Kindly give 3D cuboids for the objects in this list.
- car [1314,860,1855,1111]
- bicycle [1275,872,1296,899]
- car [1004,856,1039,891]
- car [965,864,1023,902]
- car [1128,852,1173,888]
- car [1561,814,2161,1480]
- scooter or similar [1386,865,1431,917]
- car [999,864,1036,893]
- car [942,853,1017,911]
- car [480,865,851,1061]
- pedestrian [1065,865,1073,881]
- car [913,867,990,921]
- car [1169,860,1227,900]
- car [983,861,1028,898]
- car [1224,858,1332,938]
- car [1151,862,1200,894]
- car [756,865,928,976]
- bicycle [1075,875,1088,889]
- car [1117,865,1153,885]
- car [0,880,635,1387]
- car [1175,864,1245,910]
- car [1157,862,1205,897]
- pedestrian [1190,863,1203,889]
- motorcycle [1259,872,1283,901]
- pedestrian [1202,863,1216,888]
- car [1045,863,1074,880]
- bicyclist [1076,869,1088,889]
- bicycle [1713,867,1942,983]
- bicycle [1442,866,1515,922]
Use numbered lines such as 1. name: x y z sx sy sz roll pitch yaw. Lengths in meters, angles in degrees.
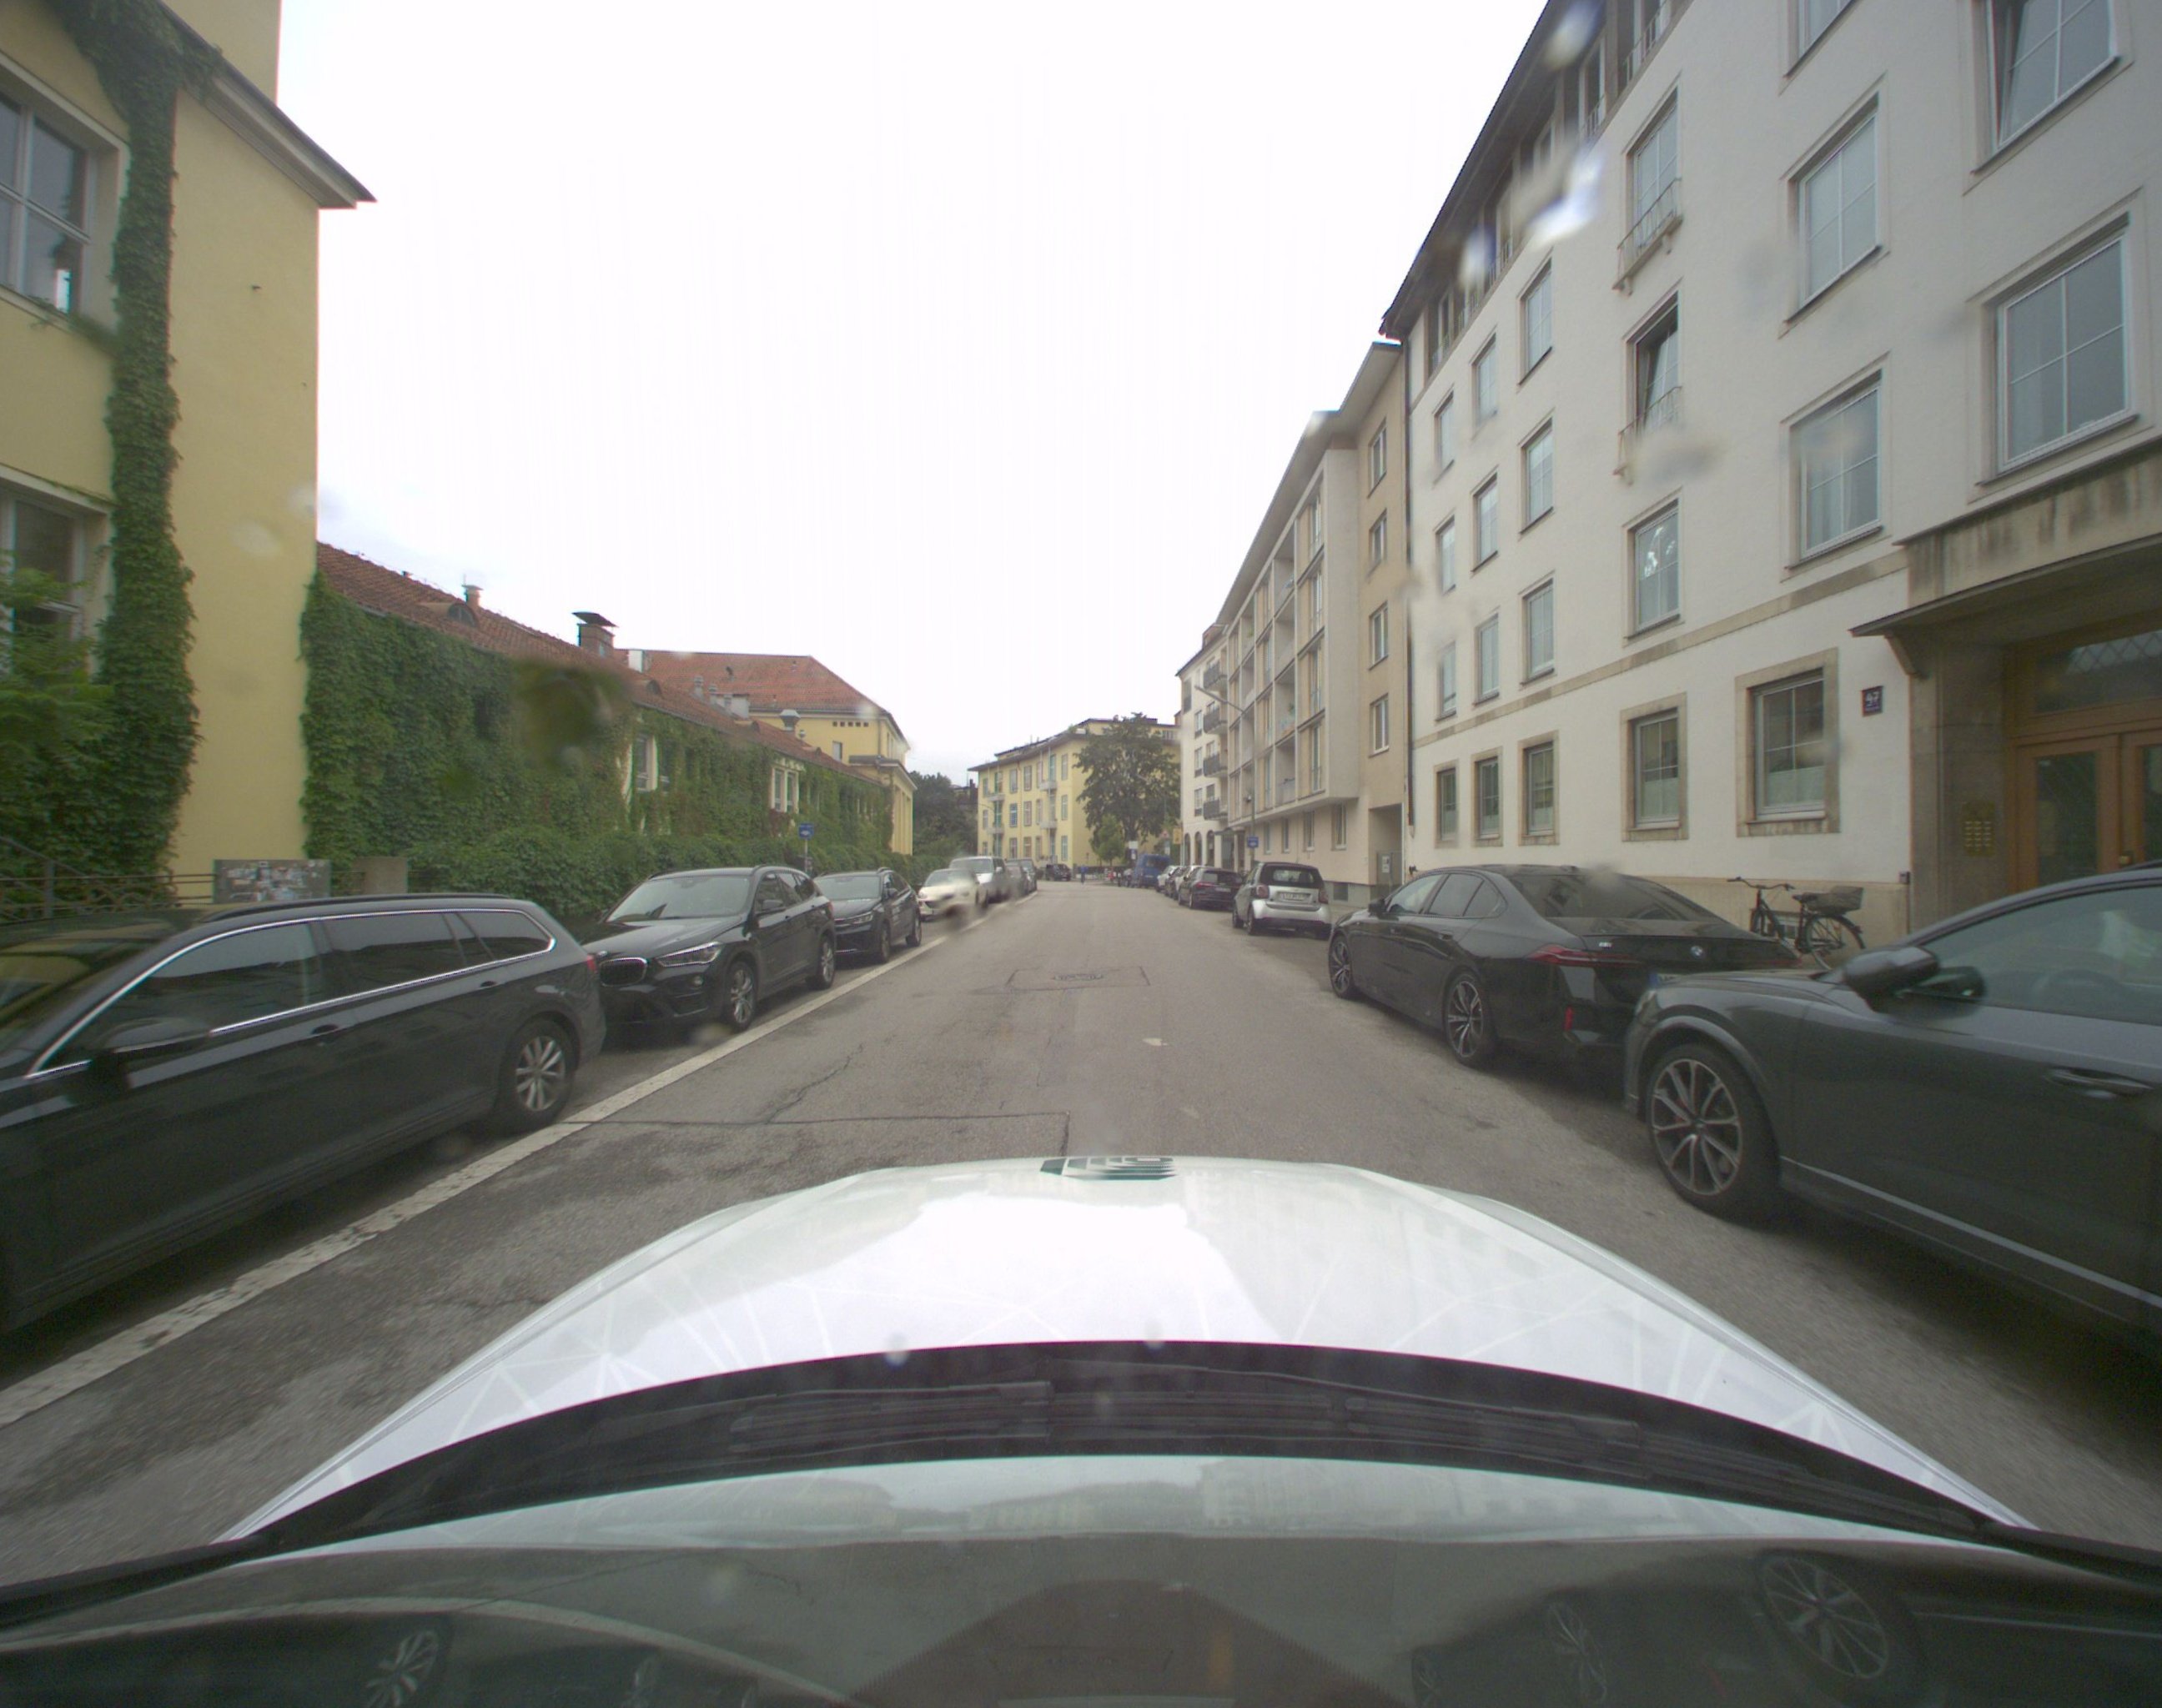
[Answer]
1. car: 3.669 0.799 7.182 1.867 1.448 4.699 1 0 0
2. bicycle: 9.004 1.386 35.883 0.512 1.157 1.600 -2 -1 0
3. car: -3.688 1.184 50.555 1.922 1.979 4.615 -3 0 -4
4. car: -3.654 1.213 35.006 1.797 1.377 4.492 -5 -1 1
5. car: 4.681 1.145 55.493 2.106 2.214 5.018 5 -3 -5
6. car: 3.505 0.715 2.274 1.820 1.582 4.493 1 0 2
7. scooter or similar: 8.301 0.916 20.683 0.726 1.275 1.095 0 -1 1
8. car: -3.525 1.349 45.570 1.702 1.365 3.999 -4 0 -1
9. car: -3.580 0.952 29.578 1.886 1.798 4.882 -5 0 1
10. car: -4.055 0.936 8.906 1.763 1.503 4.273 -3 0 1
11. pedestrian: -1.331 2.166 92.452 0.847 1.757 0.952 -1 -1 -6
12. car: -3.824 1.142 24.496 1.661 1.409 3.558 -3 0 0
13. car: 4.829 1.055 34.093 1.697 1.468 4.118 4 -1 -1
14. car: -3.668 1.205 40.133 1.697 1.606 4.490 -3 -1 0
15. car: 4.263 0.899 18.072 1.608 1.516 3.381 4 0 2
16. car: 5.076 1.273 44.392 1.772 1.523 4.297 4 0 -5
17. car: -3.919 1.005 14.133 1.712 1.481 4.218 -4 0 -1
18. bicycle: 0.043 2.523 73.900 0.920 1.253 2.316 0 -1 -6
19. car: 4.014 1.559 61.474 1.714 1.395 3.985 3 -2 -10
20. car: -4.125 0.936 3.552 1.768 1.408 4.599 -4 0 -1
21. car: 4.376 1.079 28.250 1.820 1.381 4.492 2 0 2
22. car: 4.750 1.190 39.200 1.765 1.429 4.694 4 -1 2
23. pedestrian: 7.289 1.377 51.409 0.677 1.629 0.828 -1 -2 -3
24. motorcycle: 8.906 1.518 38.250 0.633 1.271 2.040 -2 -1 0
25. pedestrian: 8.083 1.355 51.502 0.709 1.605 0.700 -1 -1 -1
26. car: -2.456 1.978 92.264 1.880 1.888 4.586 0 -1 -21
27. bicyclist: 0.098 2.284 73.739 0.913 1.764 1.213 0 -1 -6
28. bicycle: 8.077 0.711 8.968 0.595 1.080 2.039 -3 -1 0
29. bicycle: 8.431 0.820 17.370 0.627 1.092 1.837 -3 -1 1
